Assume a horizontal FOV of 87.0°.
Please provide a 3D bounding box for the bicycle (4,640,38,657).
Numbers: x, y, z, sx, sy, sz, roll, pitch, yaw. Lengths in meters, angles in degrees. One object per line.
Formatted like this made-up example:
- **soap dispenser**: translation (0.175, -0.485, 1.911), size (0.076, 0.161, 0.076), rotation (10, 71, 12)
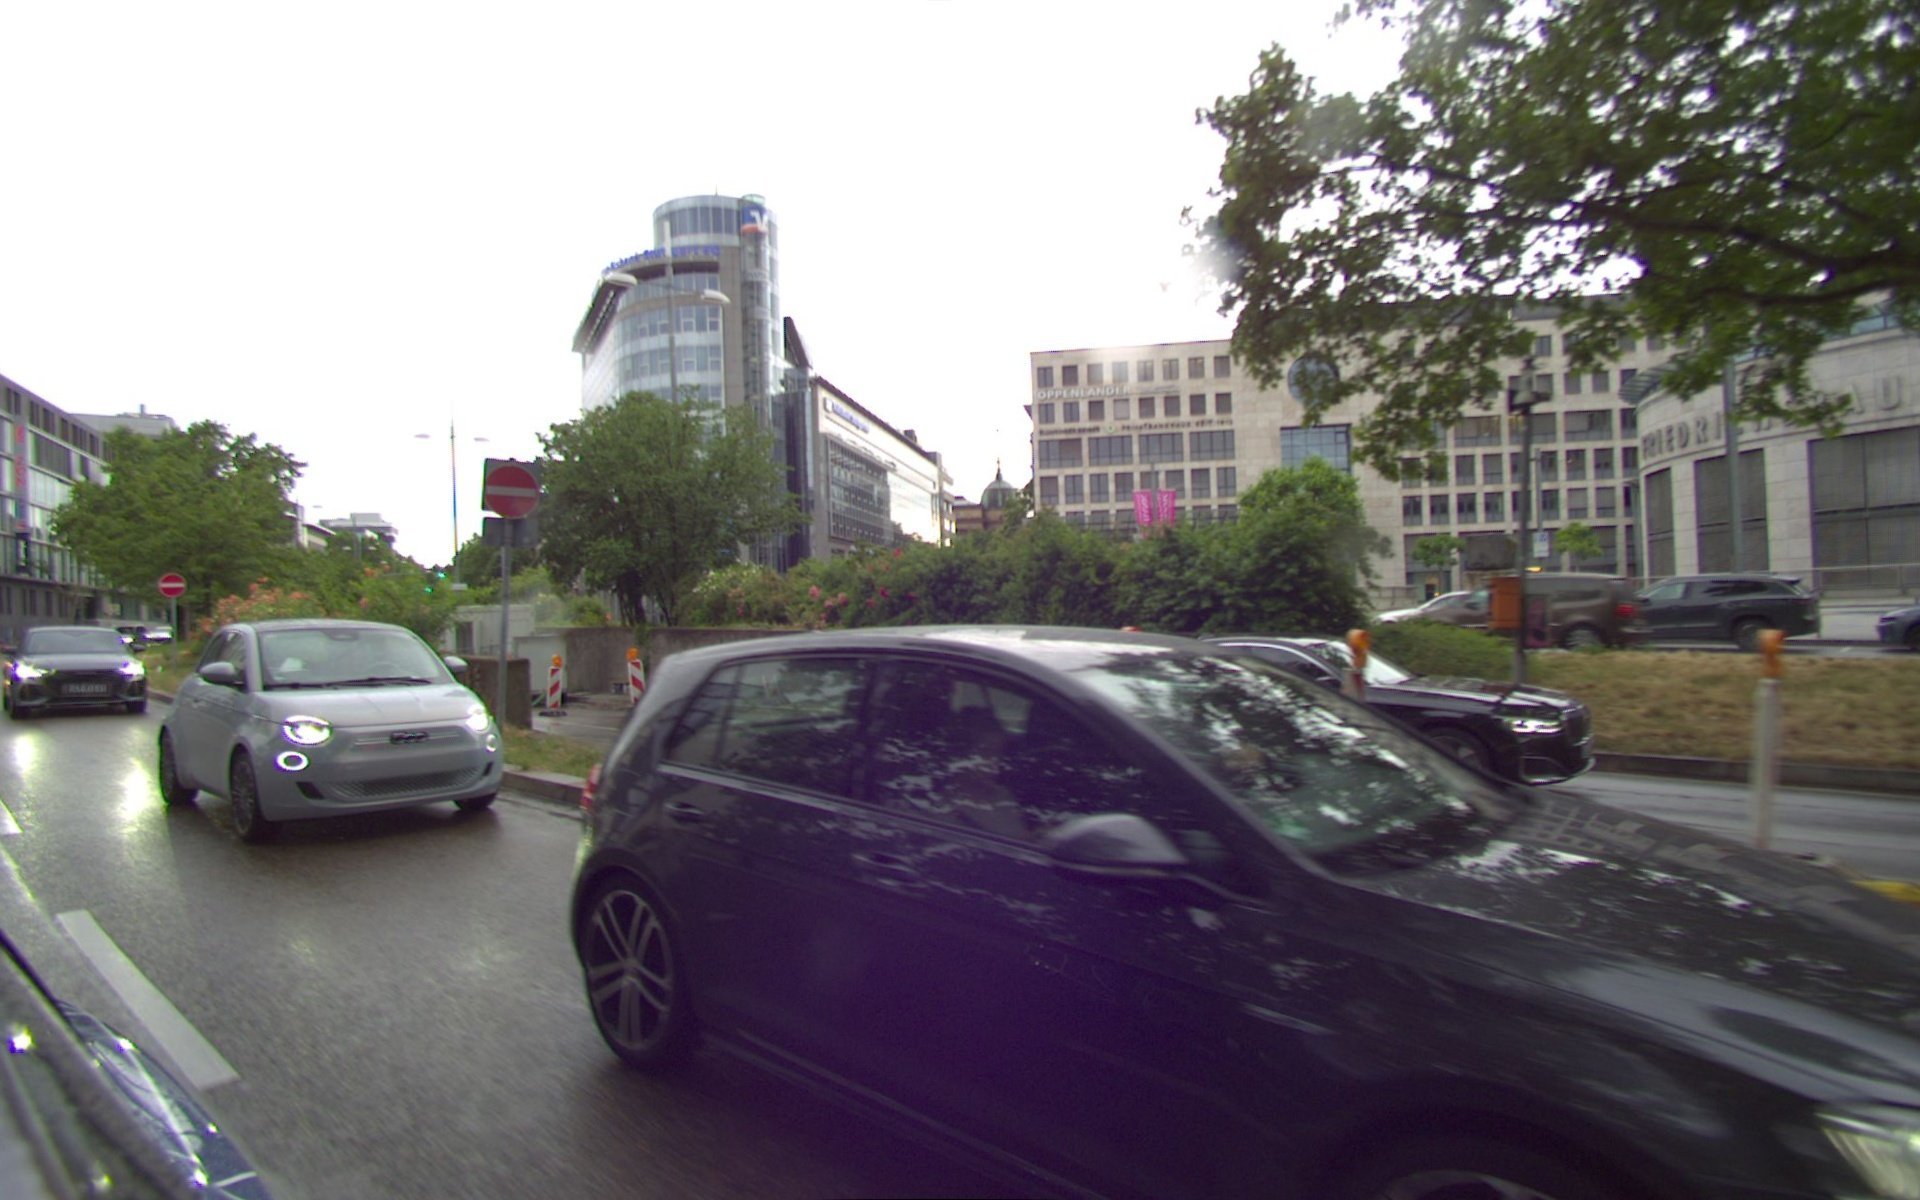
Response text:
- **bicycle**: translation (-72.035, 3.699, 77.632), size (1.770, 1.116, 0.672), rotation (-3, 1, -31)

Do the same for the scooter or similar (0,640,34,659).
- **scooter or similar**: translation (-70.581, 3.702, 75.728), size (1.767, 1.252, 0.598), rotation (-3, 1, -31)

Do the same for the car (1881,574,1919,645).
- **car**: translation (20.520, 0.158, 19.470), size (1.531, 1.413, 4.005), rotation (-1, 0, -42)

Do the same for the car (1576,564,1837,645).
- **car**: translation (16.685, 0.119, 22.809), size (1.638, 1.652, 4.505), rotation (-1, 0, -43)

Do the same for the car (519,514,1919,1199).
- **car**: translation (0.541, 0.689, 2.826), size (4.128, 1.474, 1.673), rotation (-2, -2, 41)

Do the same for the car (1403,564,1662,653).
- **car**: translation (11.457, 0.175, 20.459), size (1.532, 1.602, 4.296), rotation (-1, 0, -45)

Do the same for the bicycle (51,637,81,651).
- **bicycle**: translation (-75.008, 3.671, 84.956), size (1.769, 1.076, 0.558), rotation (-3, 1, -30)

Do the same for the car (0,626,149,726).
- **car**: translation (-16.329, 1.296, 18.500), size (4.347, 1.529, 1.840), rotation (-2, 0, 45)

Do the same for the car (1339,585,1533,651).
- **car**: translation (12.923, 0.487, 27.679), size (1.638, 1.652, 4.505), rotation (-1, 0, -43)

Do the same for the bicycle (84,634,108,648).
- **bicycle**: translation (-77.643, 3.658, 90.986), size (1.513, 1.149, 0.691), rotation (-2, 1, -32)

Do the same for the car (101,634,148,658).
- **car**: translation (-58.709, 3.216, 71.160), size (1.769, 1.521, 4.514), rotation (-2, 0, -30)

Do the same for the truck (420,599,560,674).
- **truck**: translation (-18.387, 1.332, 39.203), size (3.323, 2.529, 8.495), rotation (-1, -1, -36)

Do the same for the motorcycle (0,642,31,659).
- **motorcycle**: translation (-70.210, 3.752, 75.091), size (1.767, 1.148, 0.598), rotation (-3, 1, -31)

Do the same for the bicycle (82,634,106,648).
- **bicycle**: translation (-77.269, 3.655, 90.271), size (1.513, 1.149, 0.664), rotation (-2, 1, -32)

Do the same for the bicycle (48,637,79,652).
- **bicycle**: translation (-74.653, 3.673, 84.274), size (1.769, 1.076, 0.558), rotation (-3, 1, -30)

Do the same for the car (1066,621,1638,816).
- **car**: translation (3.649, 1.051, 10.233), size (5.080, 1.502, 1.740), rotation (-4, -4, 43)

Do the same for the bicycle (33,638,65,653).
- **bicycle**: translation (-73.756, 3.676, 81.926), size (1.770, 1.116, 0.672), rotation (-3, 1, -31)

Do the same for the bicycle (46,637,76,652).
- **bicycle**: translation (-74.325, 3.689, 83.666), size (1.769, 1.076, 0.558), rotation (-3, 1, -30)

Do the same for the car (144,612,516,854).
- **car**: translation (-5.113, 0.885, 8.057), size (3.503, 1.502, 1.573), rotation (-2, -2, 41)
